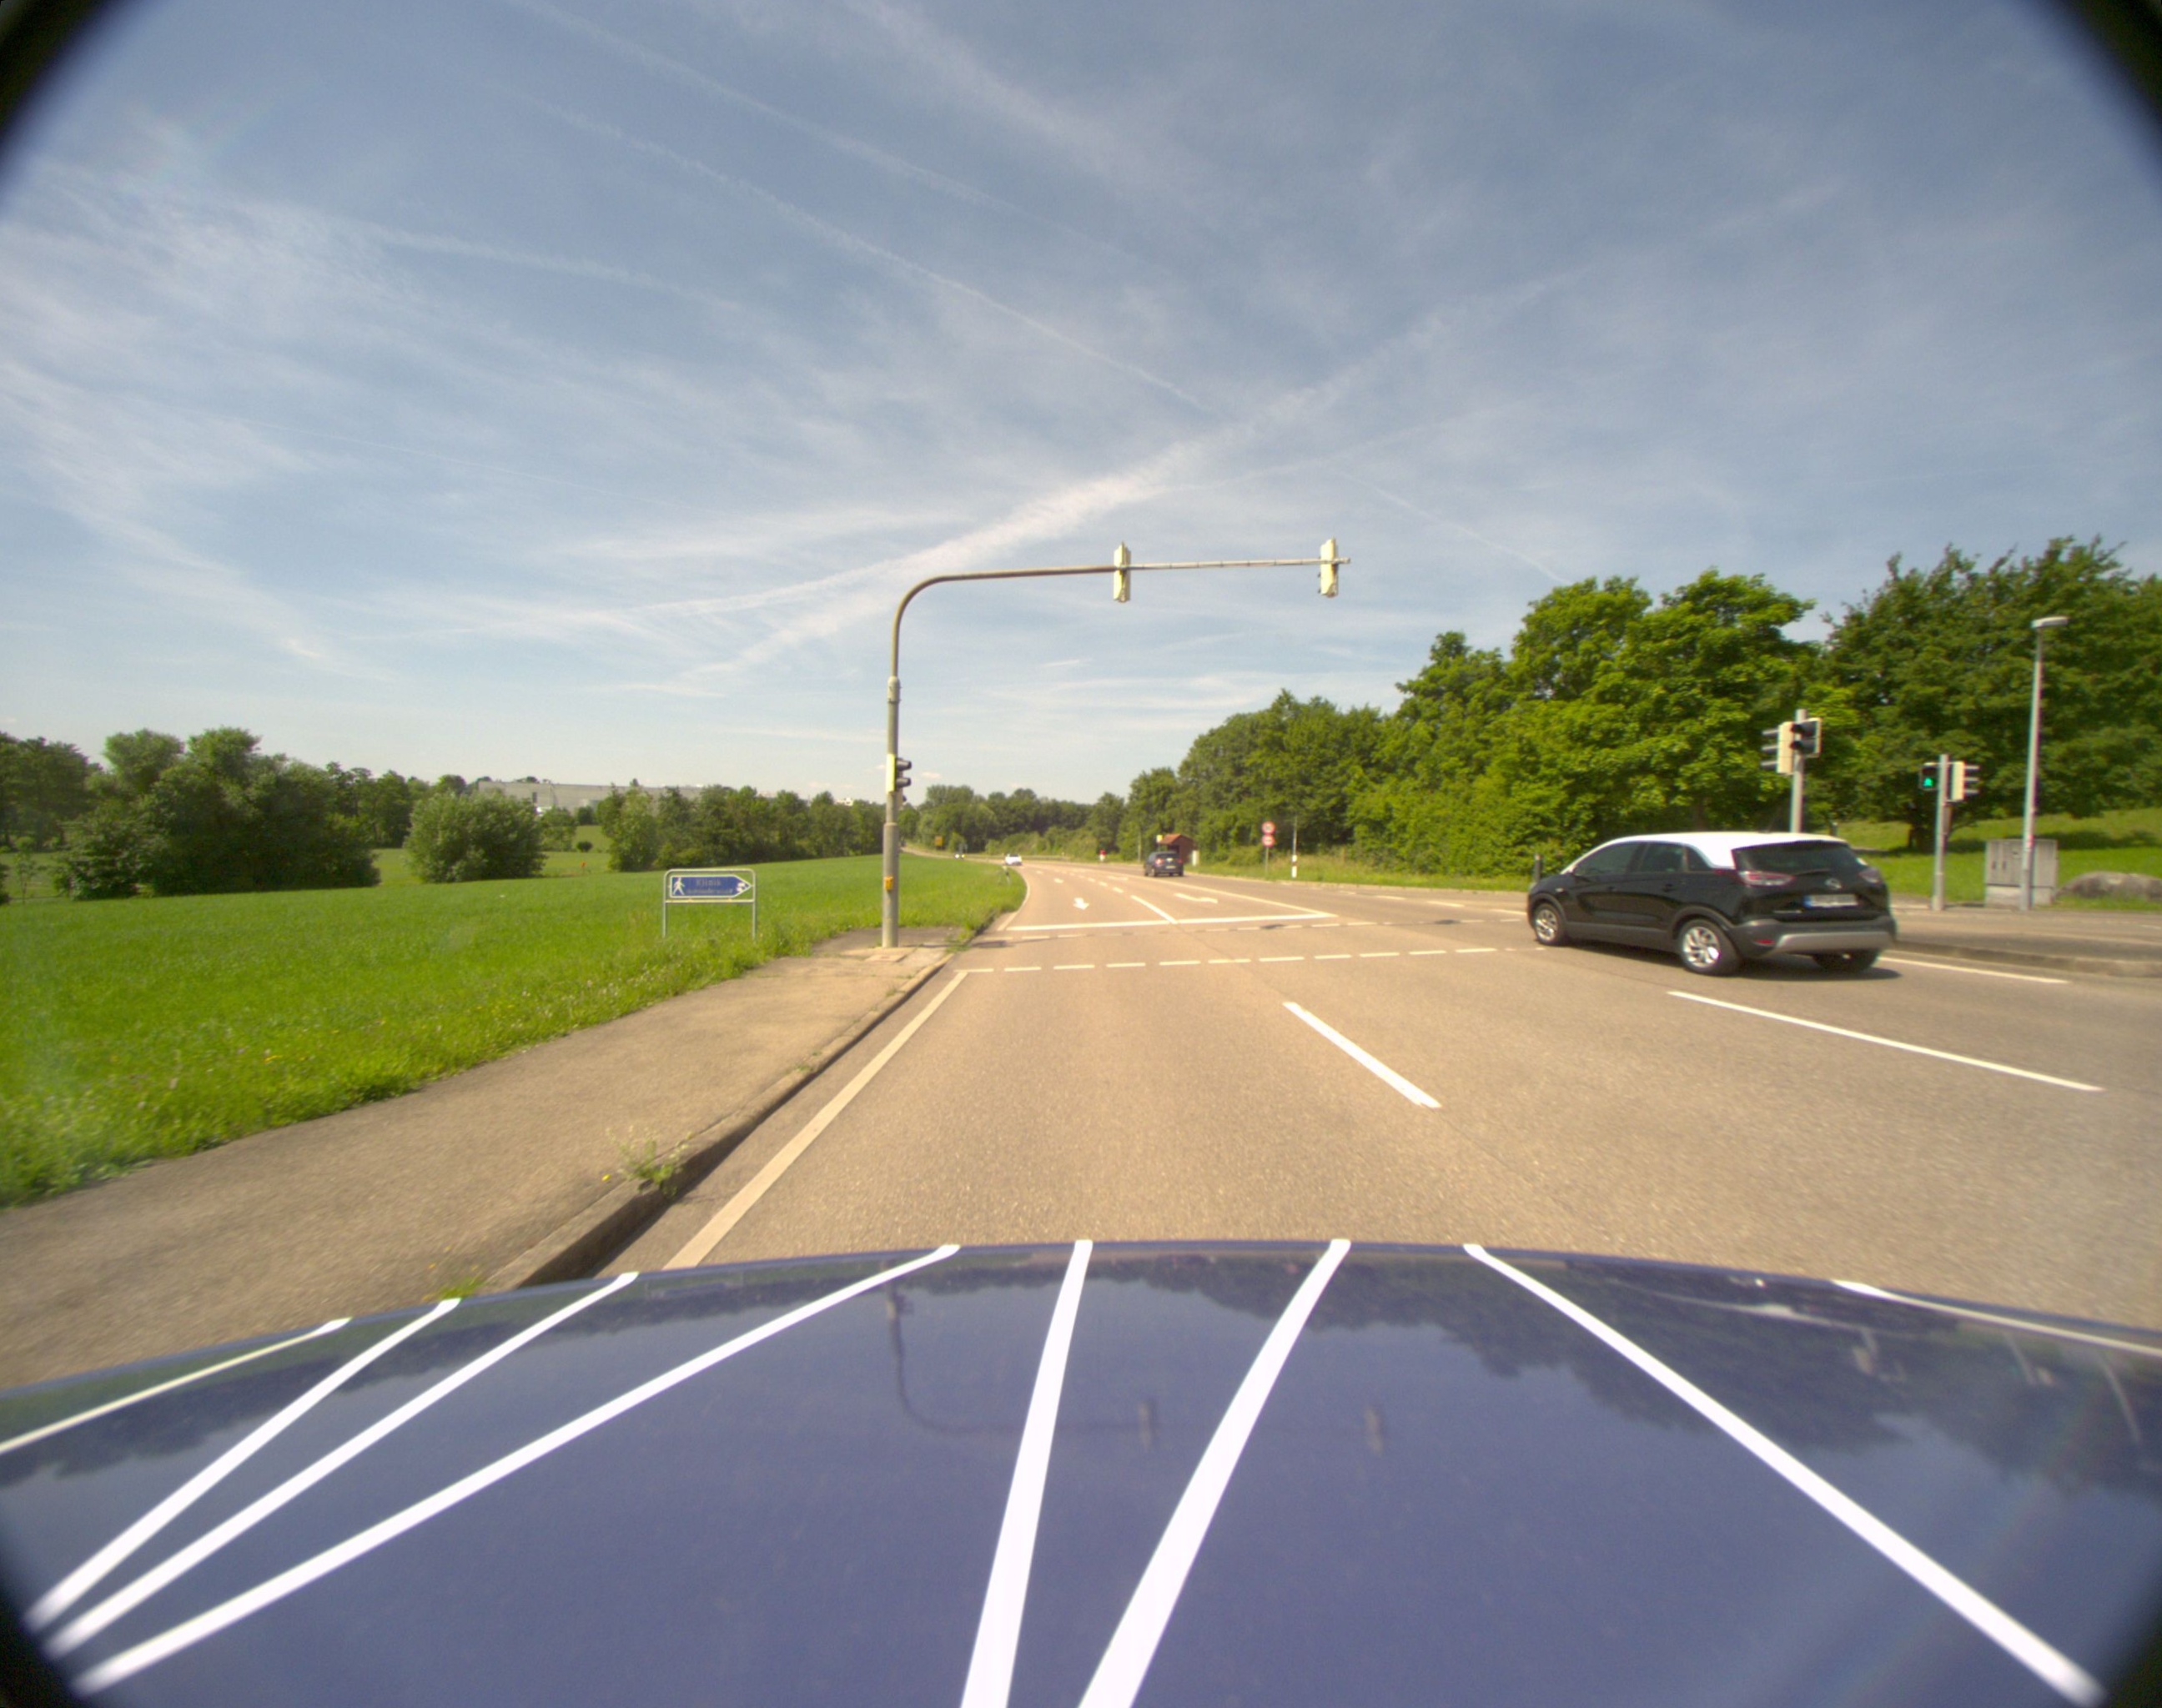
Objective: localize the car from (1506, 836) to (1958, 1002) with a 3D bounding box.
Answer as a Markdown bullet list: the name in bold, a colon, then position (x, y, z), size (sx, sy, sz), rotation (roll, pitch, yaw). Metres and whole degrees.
- **car**: position (7.470, 0.600, 9.433), size (1.979, 1.553, 4.188), rotation (-2, 1, -1)

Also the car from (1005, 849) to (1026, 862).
- **car**: position (-8.303, 0.164, 96.640), size (2.001, 1.576, 3.995), rotation (-2, 1, -14)

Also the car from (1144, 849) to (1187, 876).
- **car**: position (4.923, 0.447, 44.874), size (1.796, 1.466, 4.308), rotation (-2, 1, -4)

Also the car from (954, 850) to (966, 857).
- **car**: position (-25.537, -0.101, 160.588), size (2.001, 1.576, 3.994), rotation (-1, 0, -17)
